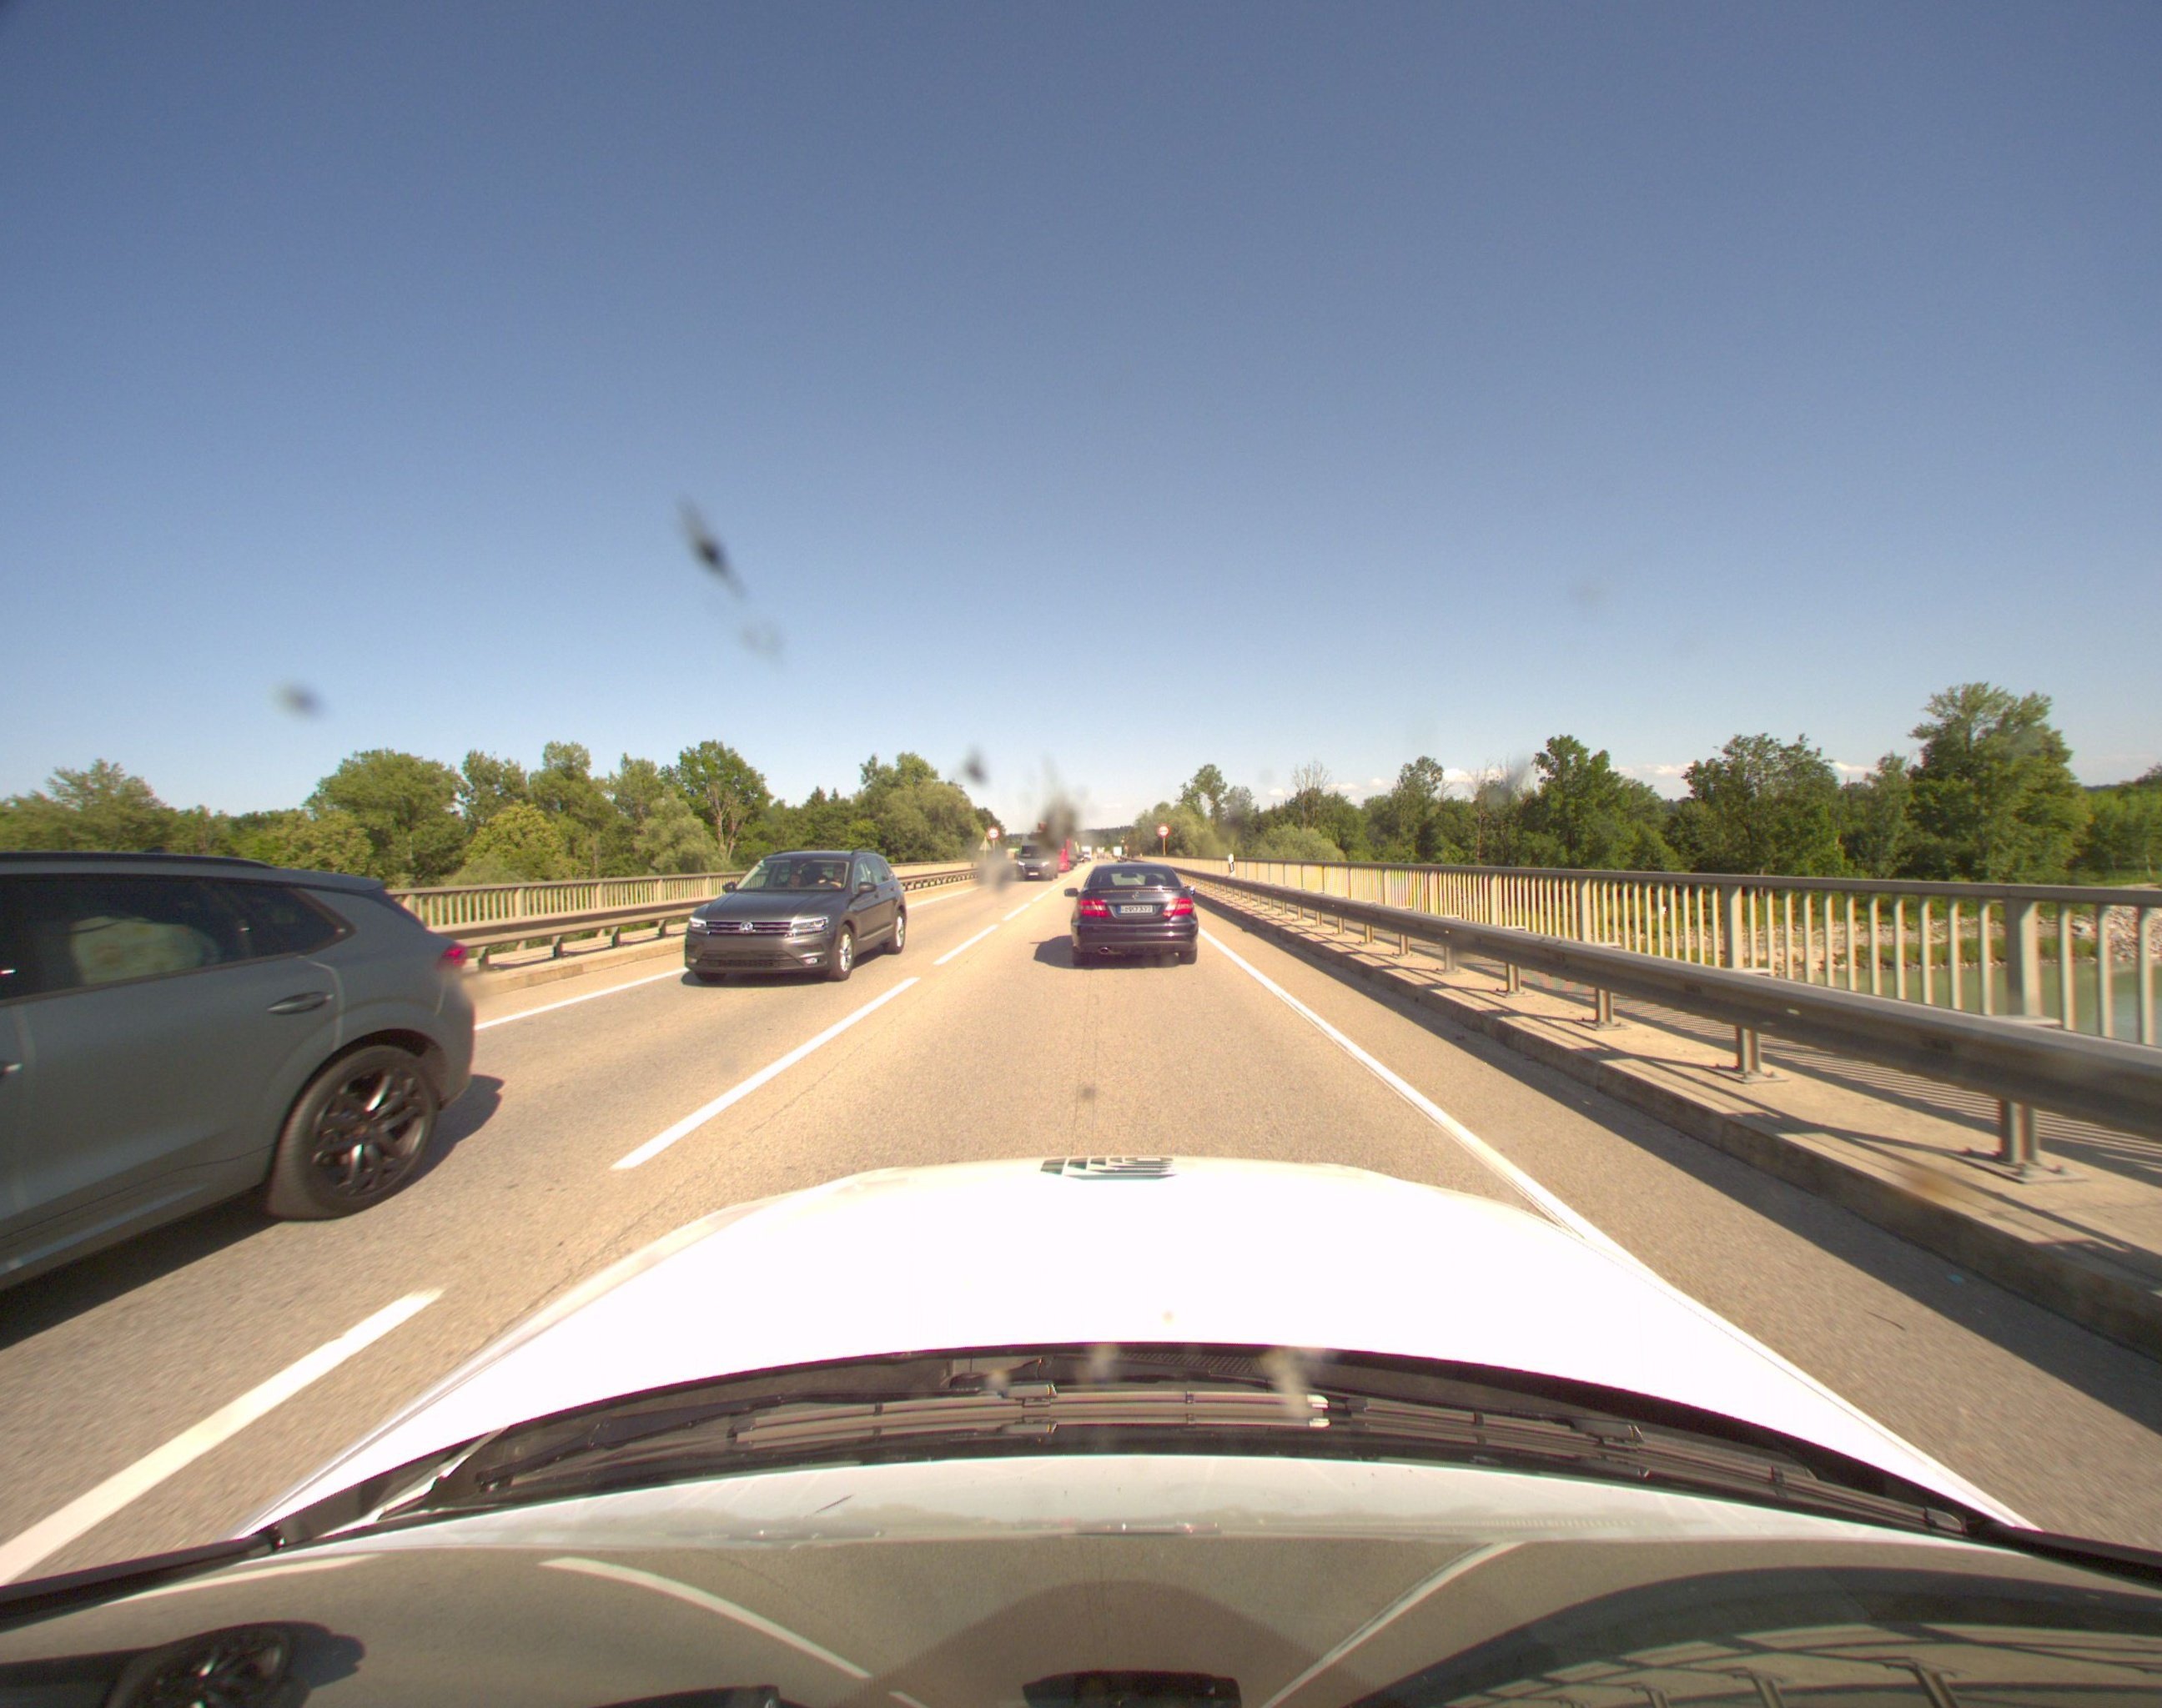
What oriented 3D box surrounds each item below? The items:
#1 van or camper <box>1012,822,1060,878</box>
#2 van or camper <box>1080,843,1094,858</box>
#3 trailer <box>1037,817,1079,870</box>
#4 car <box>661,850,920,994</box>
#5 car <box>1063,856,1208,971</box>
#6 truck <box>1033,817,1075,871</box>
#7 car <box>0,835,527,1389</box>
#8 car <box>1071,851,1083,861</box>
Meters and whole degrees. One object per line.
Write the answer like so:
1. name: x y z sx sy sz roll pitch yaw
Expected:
1. van or camper: -2.565 -0.251 48.034 2.307 3.051 6.818 -1 0 1
2. van or camper: 1.446 -0.689 182.694 2.623 3.256 7.759 -1 0 4
3. trailer: -1.873 -0.889 74.146 2.896 4.302 14.308 -1 0 2
4. car: -3.709 0.757 11.325 1.867 1.583 4.277 -1 0 3
5. car: 0.783 0.761 12.248 1.786 1.376 4.003 -1 0 3
6. truck: -2.136 -0.778 66.688 2.896 4.184 5.716 -1 0 2
7. car: -3.989 0.754 2.334 1.799 1.577 4.202 -1 0 2
8. car: -0.669 0.321 134.657 1.837 1.642 4.573 -1 0 -2
